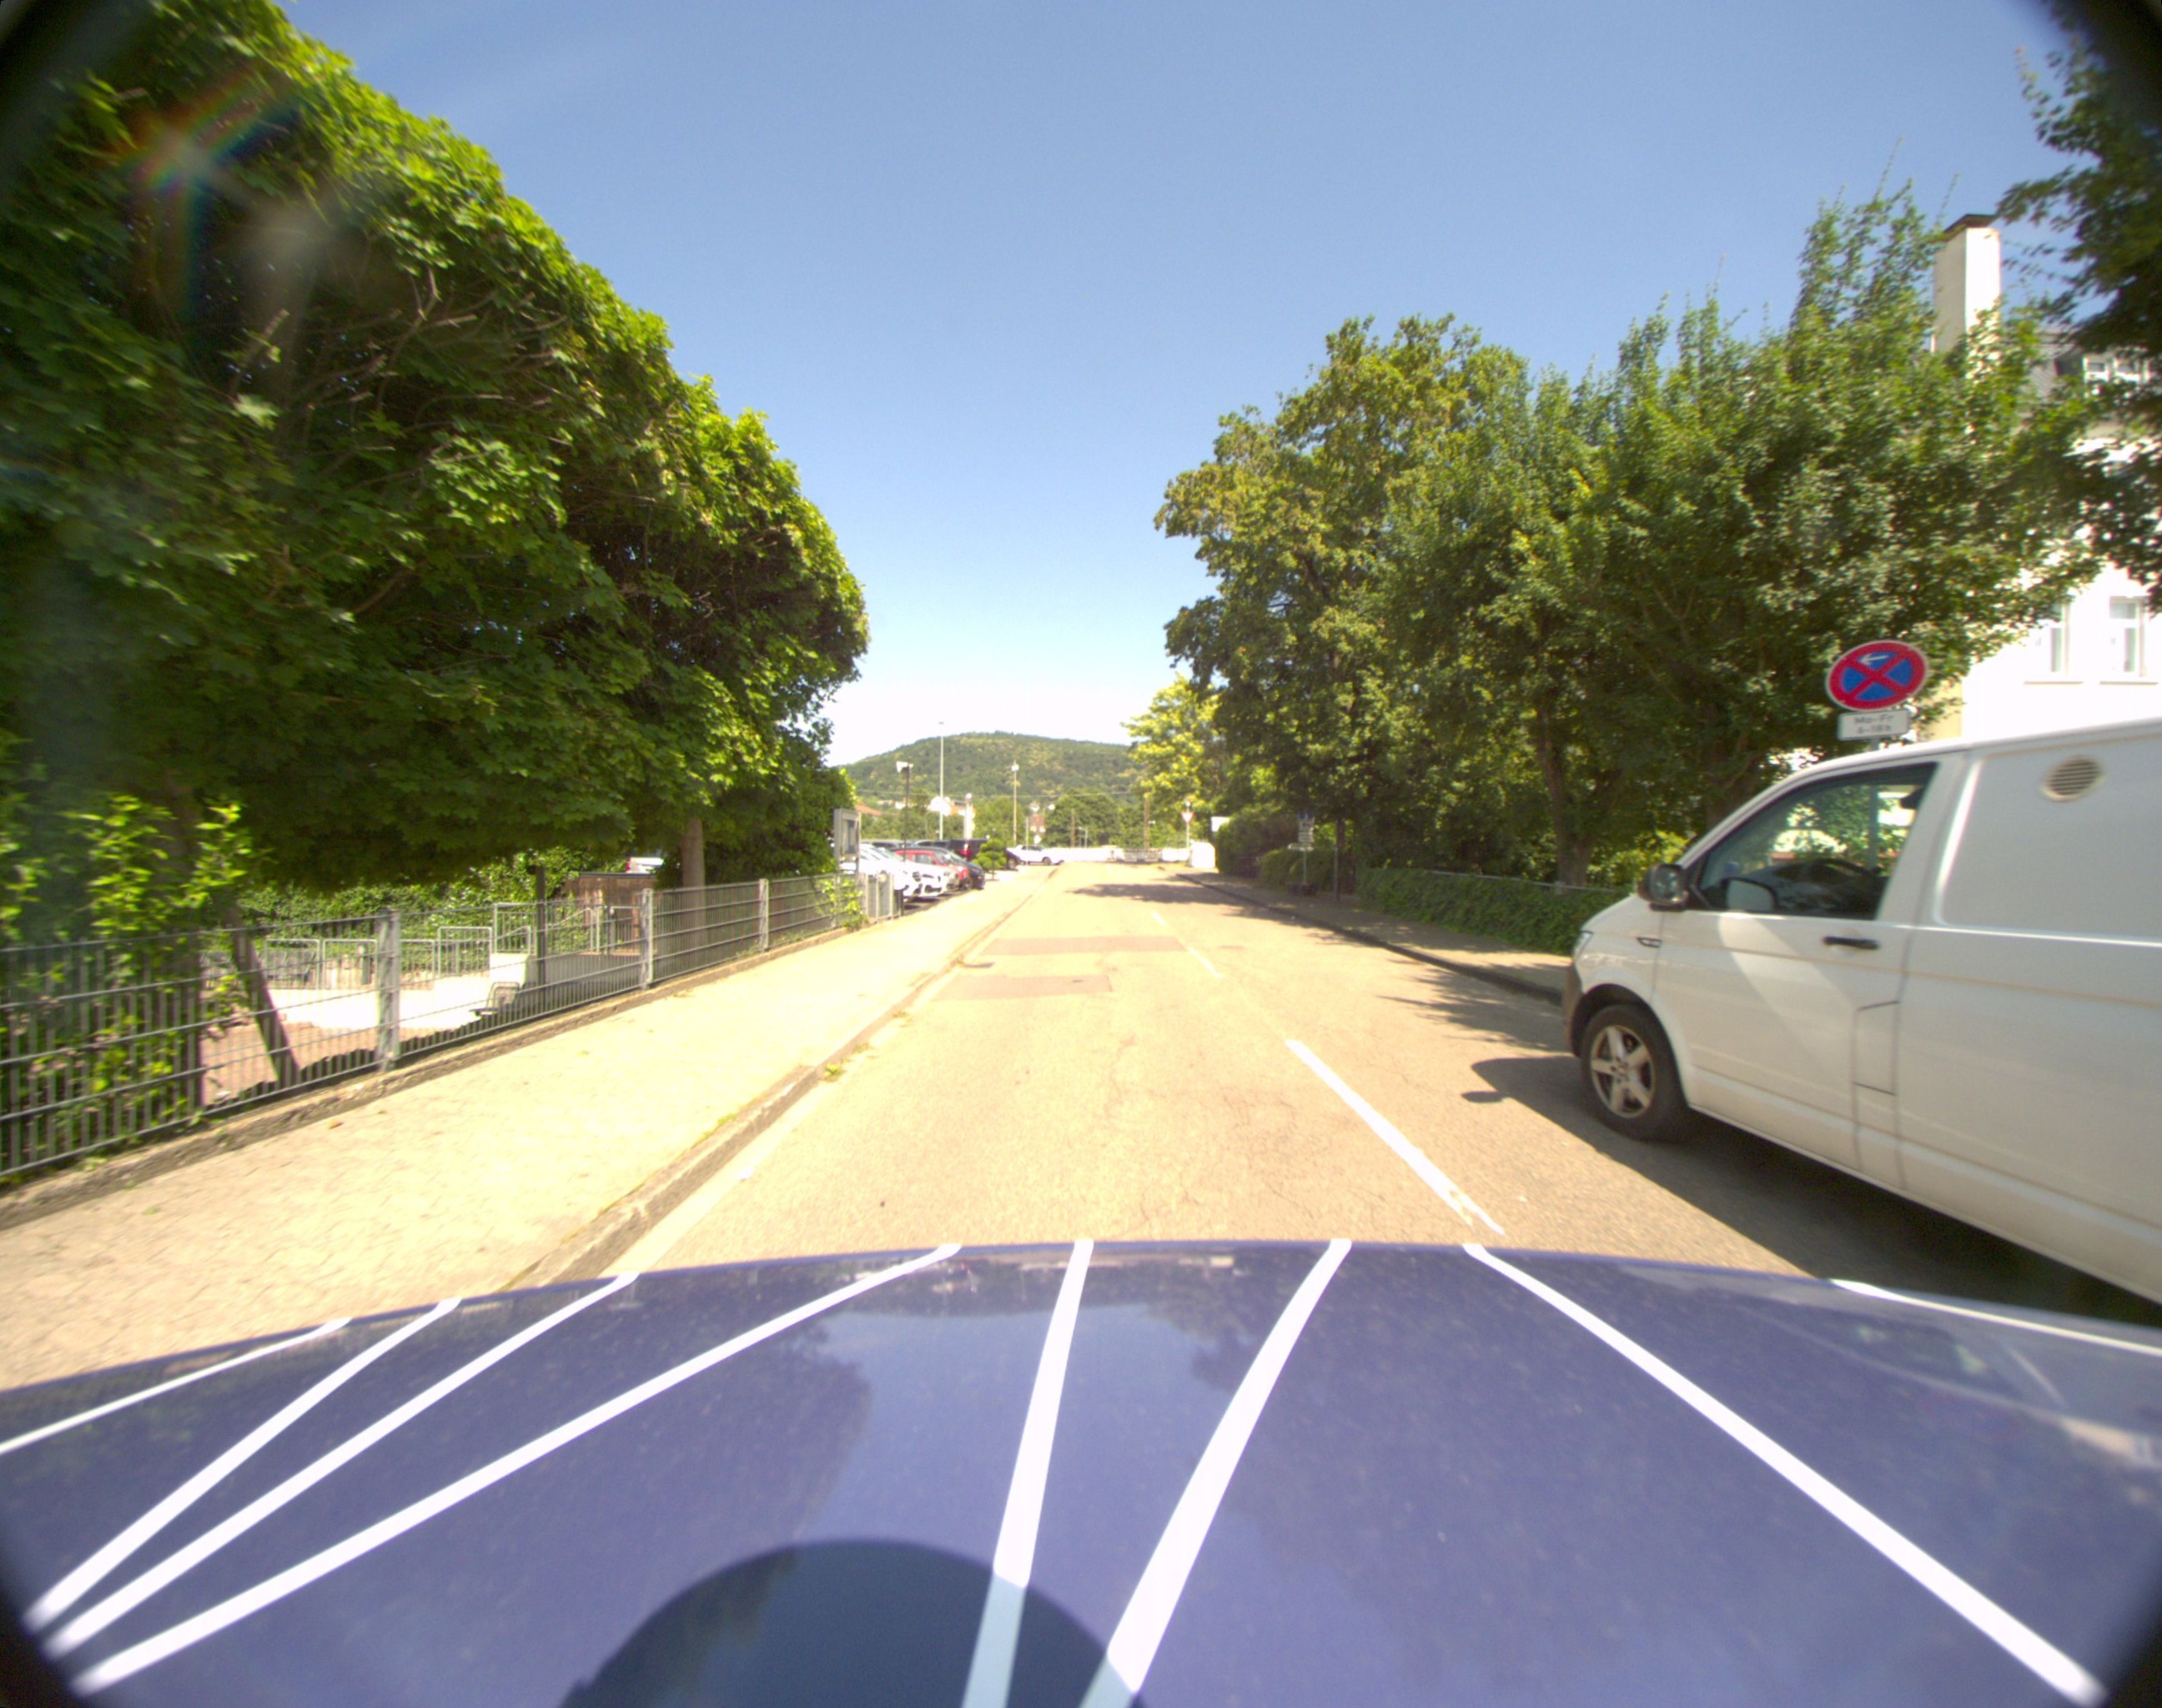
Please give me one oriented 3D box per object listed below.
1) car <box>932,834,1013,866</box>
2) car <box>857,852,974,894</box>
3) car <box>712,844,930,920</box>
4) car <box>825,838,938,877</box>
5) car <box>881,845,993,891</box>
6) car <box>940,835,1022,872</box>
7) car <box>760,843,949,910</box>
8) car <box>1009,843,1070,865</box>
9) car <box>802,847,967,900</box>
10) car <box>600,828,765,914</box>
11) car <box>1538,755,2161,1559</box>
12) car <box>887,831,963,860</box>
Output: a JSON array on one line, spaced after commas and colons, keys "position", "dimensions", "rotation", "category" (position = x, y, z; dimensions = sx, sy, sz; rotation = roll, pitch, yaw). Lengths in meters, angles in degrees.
[{"position": [-6.440, -0.306, 45.576], "dimensions": [2.011, 1.769, 4.827], "rotation": [1, 2, 35], "category": "car"}, {"position": [-5.452, 0.611, 25.331], "dimensions": [3.558, 1.328, 1.558], "rotation": [0, 2, -1], "category": "car"}, {"position": [-5.870, 0.606, 17.594], "dimensions": [4.414, 1.644, 1.843], "rotation": [0, 2, -2], "category": "car"}, {"position": [-9.322, 0.108, 35.447], "dimensions": [4.984, 1.752, 1.928], "rotation": [1, 2, 24], "category": "car"}, {"position": [-5.267, 0.496, 28.073], "dimensions": [3.812, 1.615, 1.759], "rotation": [0, 2, -1], "category": "car"}, {"position": [-5.259, -0.079, 40.282], "dimensions": [1.847, 1.772, 4.299], "rotation": [2, 3, 36], "category": "car"}, {"position": [-5.853, 0.561, 20.079], "dimensions": [4.415, 1.519, 1.896], "rotation": [2, 2, -2], "category": "car"}, {"position": [-3.119, -0.025, 57.129], "dimensions": [4.159, 1.412, 1.900], "rotation": [3, 2, 25], "category": "car"}, {"position": [-5.775, 0.546, 22.705], "dimensions": [4.414, 1.488, 1.896], "rotation": [0, 2, 0], "category": "car"}, {"position": [-9.630, 0.317, 18.760], "dimensions": [1.999, 1.849, 3.787], "rotation": [-1, 2, 0], "category": "car"}, {"position": [3.703, 0.777, 1.948], "dimensions": [1.976, 2.002, 5.055], "rotation": [2, 1, 1], "category": "car"}, {"position": [-9.546, -0.592, 46.981], "dimensions": [2.012, 1.683, 4.825], "rotation": [1, 2, 27], "category": "car"}]
